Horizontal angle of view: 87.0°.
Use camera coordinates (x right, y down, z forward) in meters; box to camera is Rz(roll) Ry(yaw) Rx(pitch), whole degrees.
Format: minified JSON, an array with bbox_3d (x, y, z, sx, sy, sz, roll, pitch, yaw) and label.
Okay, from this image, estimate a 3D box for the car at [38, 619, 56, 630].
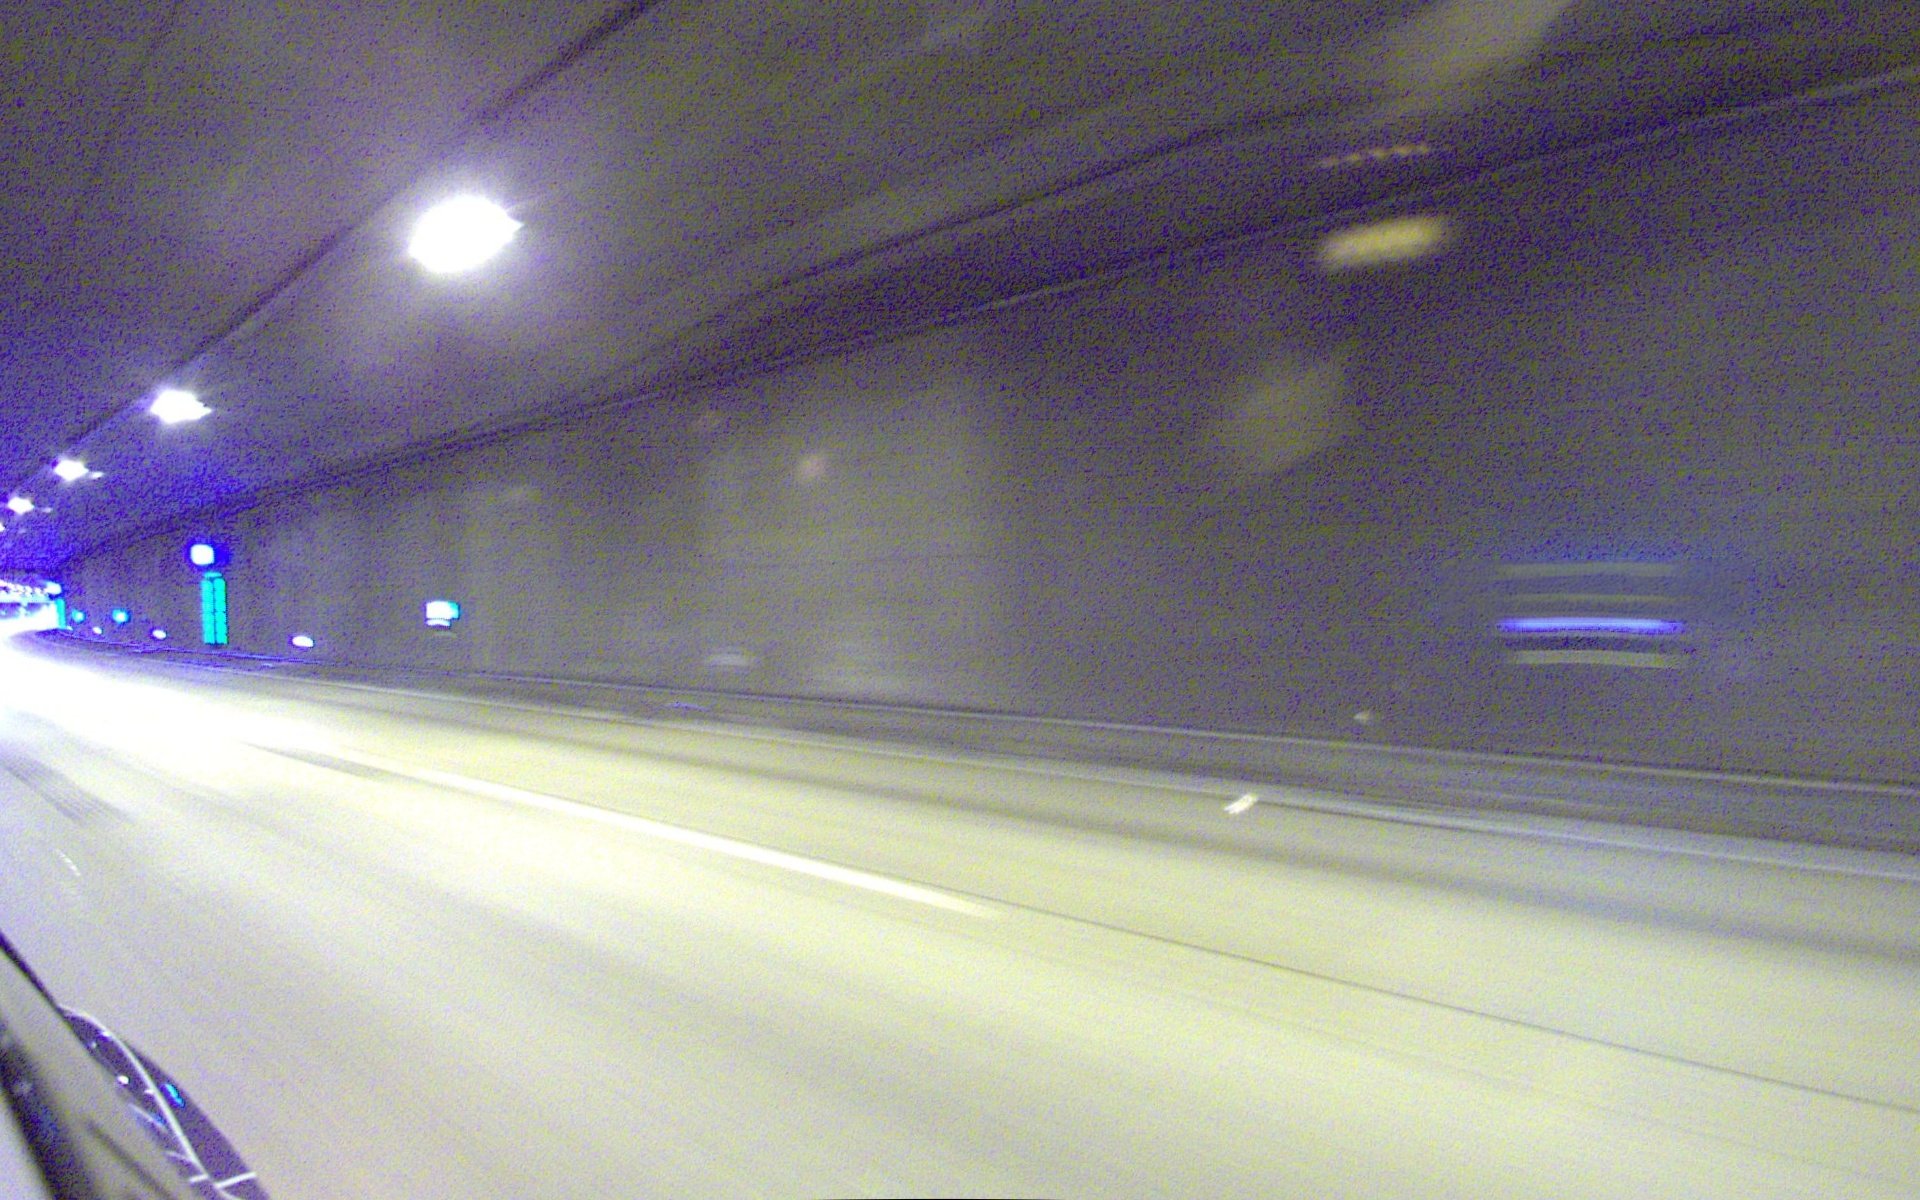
[{"bbox_3d":[-153.514,4.122,170.170,1.968,1.812,4.008,1,-1,-39],"label":"car"}]
